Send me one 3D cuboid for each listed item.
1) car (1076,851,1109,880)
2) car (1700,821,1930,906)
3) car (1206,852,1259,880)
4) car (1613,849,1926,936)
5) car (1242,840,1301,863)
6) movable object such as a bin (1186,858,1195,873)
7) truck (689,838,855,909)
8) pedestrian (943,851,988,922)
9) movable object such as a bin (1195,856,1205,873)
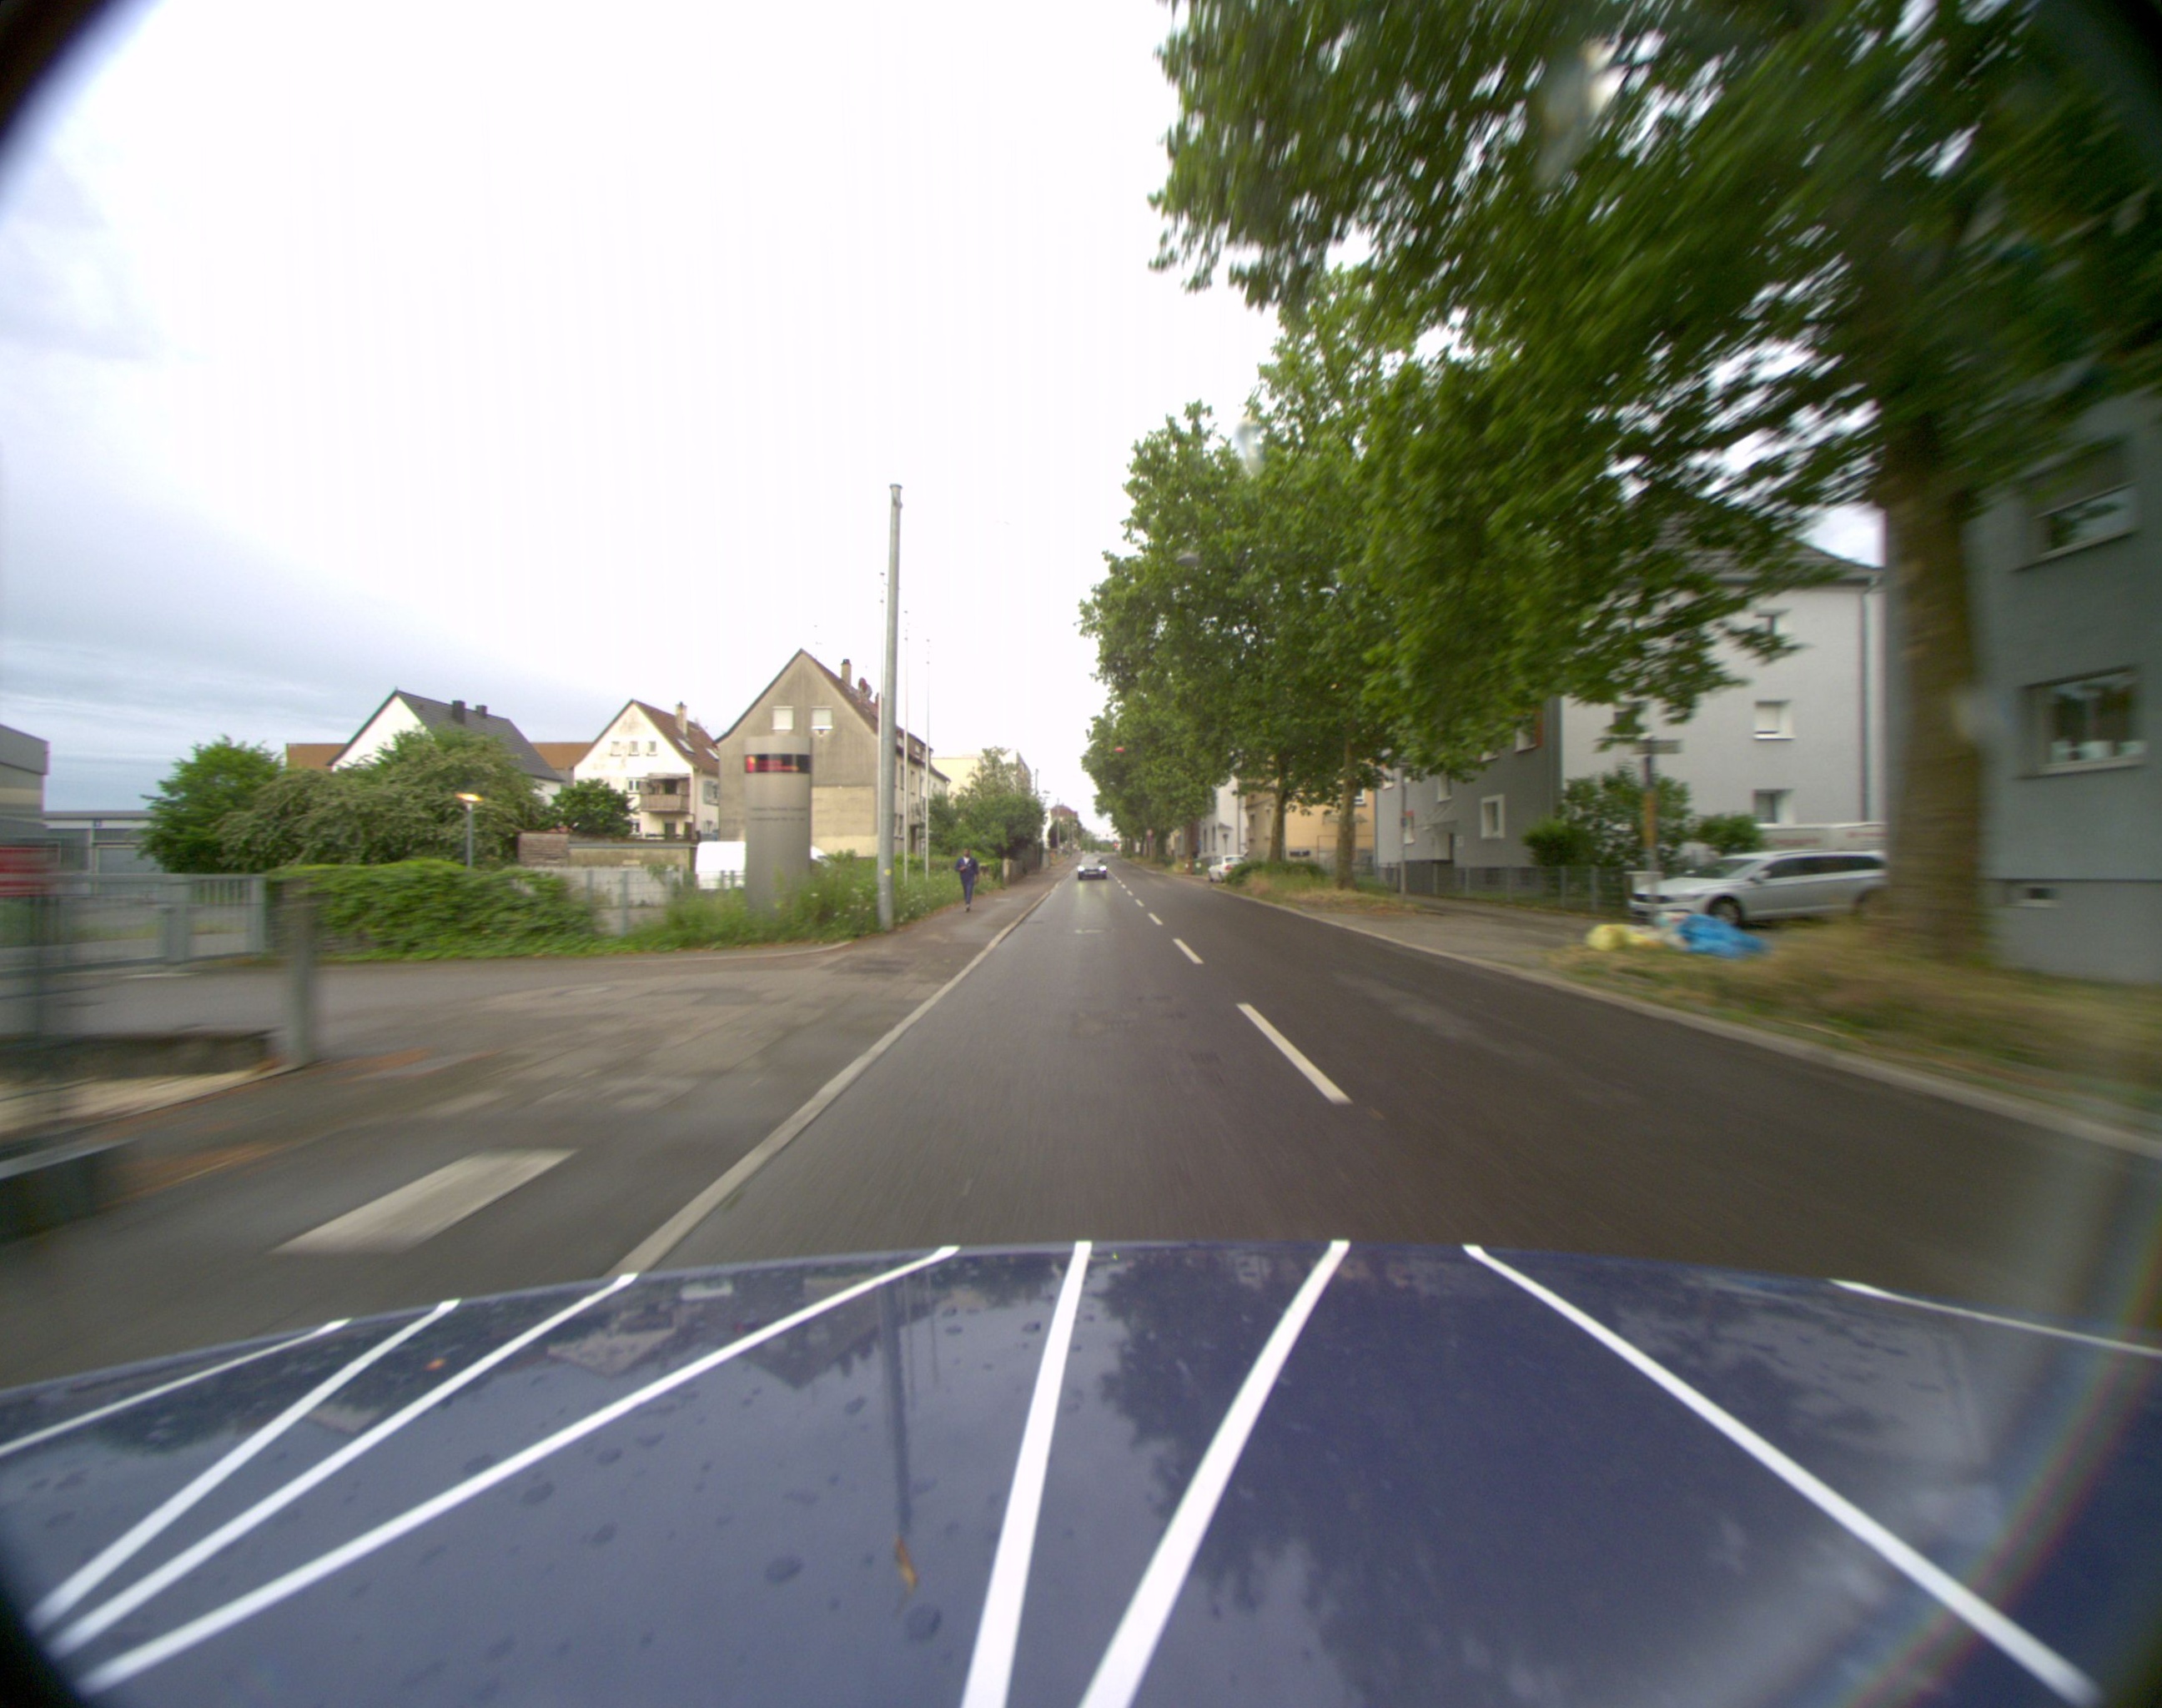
[{"bbox_3d":[0.676,0.673,46.763,1.949,1.644,3.858,-1,1,0],"label":"car"},{"bbox_3d":[18.695,0.168,19.727,1.888,1.909,4.553,-2,1,6],"label":"car"},{"bbox_3d":[7.964,0.602,40.312,1.760,1.318,4.537,-2,1,-2],"label":"car"},{"bbox_3d":[13.903,0.744,15.548,4.674,1.468,1.869,-2,1,1],"label":"car"},{"bbox_3d":[16.920,-0.239,67.714,4.682,1.768,2.020,-2,1,1],"label":"car"},{"bbox_3d":[7.073,0.745,49.198,0.513,0.922,0.581,1,2,1],"label":"movable object such as a bin"},{"bbox_3d":[-12.619,0.752,31.274,5.859,2.622,2.043,-2,2,0],"label":"truck"},{"bbox_3d":[-3.137,0.863,20.674,1.045,1.886,0.900,-1,2,1],"label":"pedestrian"},{"bbox_3d":[7.698,0.685,49.240,0.536,1.051,0.762,1,2,1],"label":"movable object such as a bin"}]
